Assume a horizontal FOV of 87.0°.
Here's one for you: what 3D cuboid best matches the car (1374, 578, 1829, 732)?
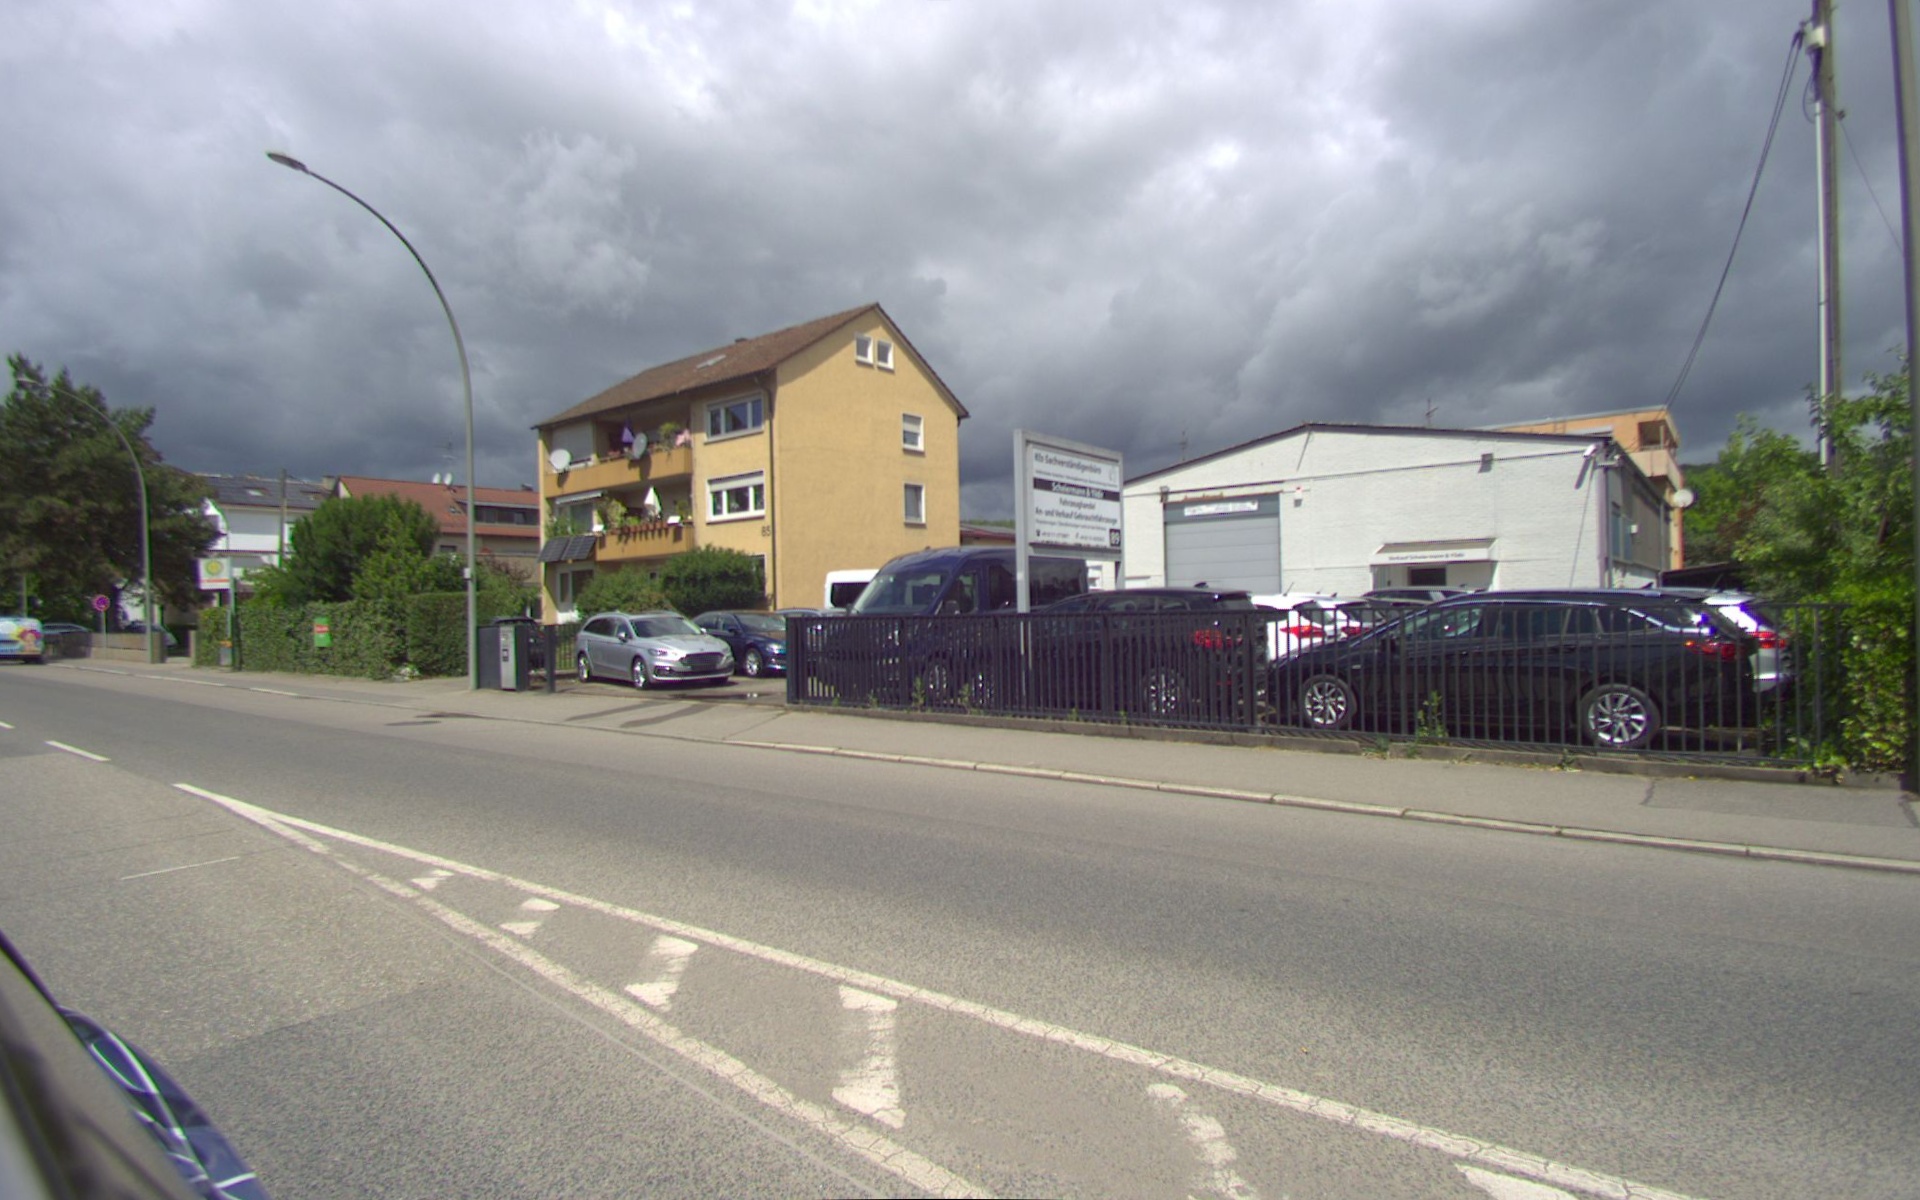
[{"bbox_3d":[7.470,0.598,12.119,4.260,1.518,2.134,-2,-1,37],"label":"car"}]

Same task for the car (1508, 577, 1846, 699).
[{"bbox_3d":[10.763,0.552,15.449,3.994,1.630,1.759,-2,-2,37],"label":"car"}]

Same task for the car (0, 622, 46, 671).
[{"bbox_3d":[-38.684,1.914,40.922,4.891,1.868,1.815,-3,-5,40],"label":"car"}]

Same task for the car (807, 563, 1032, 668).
[{"bbox_3d":[-1.205,0.480,27.076,6.134,2.514,2.386,-2,-3,43],"label":"car"}]

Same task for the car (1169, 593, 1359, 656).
[{"bbox_3d":[8.973,0.747,30.104,4.998,1.726,2.030,-2,-2,37],"label":"car"}]

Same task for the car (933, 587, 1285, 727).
[{"bbox_3d":[1.936,0.709,13.701,4.277,1.607,2.013,-2,-2,37],"label":"car"}]

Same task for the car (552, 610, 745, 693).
[{"bbox_3d":[-6.657,1.008,21.163,1.968,1.497,5.349,0,-1,-40],"label":"car"}]

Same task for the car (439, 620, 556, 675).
[{"bbox_3d":[-13.475,1.332,29.350,1.823,1.437,4.335,0,-2,-43],"label":"car"}]

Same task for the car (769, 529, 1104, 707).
[{"bbox_3d":[-0.154,0.304,17.414,2.475,2.515,5.977,-2,-2,39],"label":"car"}]

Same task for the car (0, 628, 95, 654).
[{"bbox_3d":[-59.856,2.624,66.013,1.970,1.563,4.960,-1,-1,38],"label":"car"}]

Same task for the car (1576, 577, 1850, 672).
[{"bbox_3d":[14.142,0.472,19.286,3.990,1.630,1.761,-2,-1,34],"label":"car"}]

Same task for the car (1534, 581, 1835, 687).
[{"bbox_3d":[12.229,0.574,17.374,3.990,1.630,1.761,-2,-1,34],"label":"car"}]

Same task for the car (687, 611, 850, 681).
[{"bbox_3d":[-4.455,1.004,23.099,1.821,1.437,4.338,0,-2,-39],"label":"car"}]

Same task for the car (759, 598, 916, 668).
[{"bbox_3d":[-3.112,0.797,25.019,1.821,1.589,4.338,0,-2,-39],"label":"car"}]

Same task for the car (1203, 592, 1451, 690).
[{"bbox_3d":[6.708,0.731,18.640,3.990,1.630,1.761,-2,-1,34],"label":"car"}]

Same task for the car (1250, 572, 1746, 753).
[{"bbox_3d":[5.514,0.581,10.652,4.260,1.518,2.133,-2,-2,37],"label":"car"}]

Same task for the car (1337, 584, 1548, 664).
[{"bbox_3d":[10.686,0.533,22.502,3.990,1.630,1.761,-2,-1,34],"label":"car"}]

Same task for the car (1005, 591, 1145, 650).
[{"bbox_3d":[3.738,0.680,33.328,4.328,1.805,1.826,-2,-2,41],"label":"car"}]

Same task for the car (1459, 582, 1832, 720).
[{"bbox_3d":[9.228,0.655,13.889,3.994,1.630,1.759,-2,-2,37],"label":"car"}]

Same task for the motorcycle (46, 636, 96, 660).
[{"bbox_3d":[-45.899,2.469,52.286,1.845,1.174,0.827,0,-1,-34],"label":"motorcycle"}]

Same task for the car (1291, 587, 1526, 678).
[{"bbox_3d":[8.816,0.638,20.007,3.990,1.630,1.761,-2,-1,34],"label":"car"}]

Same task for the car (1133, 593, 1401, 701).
[{"bbox_3d":[5.140,0.757,17.130,3.990,1.630,1.761,-2,-1,34],"label":"car"}]

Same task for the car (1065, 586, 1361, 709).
[{"bbox_3d":[3.769,0.681,15.321,3.990,1.630,1.761,-2,-1,34],"label":"car"}]
